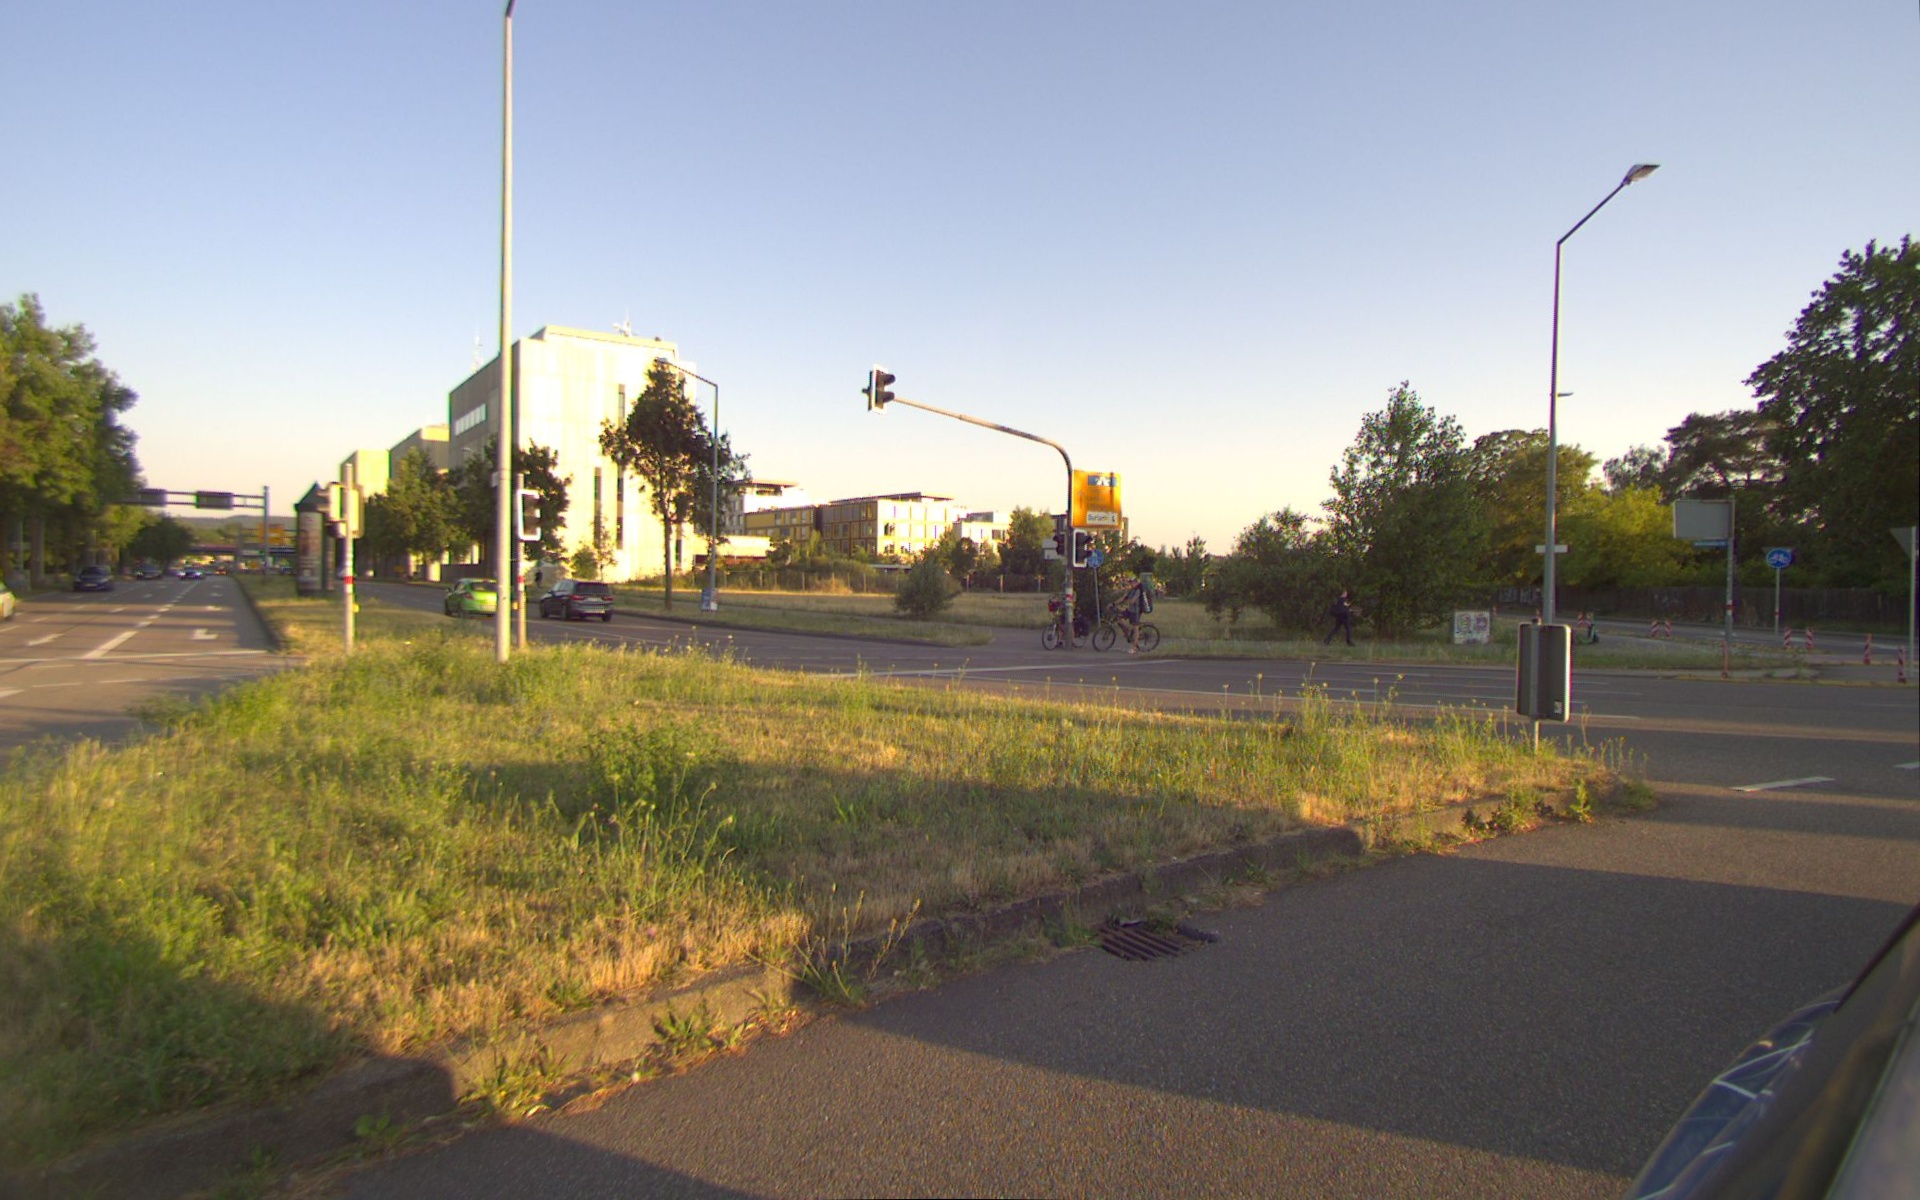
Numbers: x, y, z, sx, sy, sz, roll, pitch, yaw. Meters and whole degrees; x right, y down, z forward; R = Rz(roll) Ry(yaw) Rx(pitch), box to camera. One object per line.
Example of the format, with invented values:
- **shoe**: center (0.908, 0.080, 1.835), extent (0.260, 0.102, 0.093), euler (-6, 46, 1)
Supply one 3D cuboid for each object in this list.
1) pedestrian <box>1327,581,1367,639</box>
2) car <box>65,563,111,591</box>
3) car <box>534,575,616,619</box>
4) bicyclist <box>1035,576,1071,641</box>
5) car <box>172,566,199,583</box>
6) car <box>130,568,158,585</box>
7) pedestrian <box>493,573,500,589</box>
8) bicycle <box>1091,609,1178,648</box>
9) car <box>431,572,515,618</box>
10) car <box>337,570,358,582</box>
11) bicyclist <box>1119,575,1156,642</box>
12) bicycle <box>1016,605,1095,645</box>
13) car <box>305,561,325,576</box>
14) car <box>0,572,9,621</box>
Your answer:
- **pedestrian**: center (11.100, 0.270, 29.057), extent (0.978, 1.610, 0.922), euler (1, 1, 16)
- **car**: center (-53.650, -1.421, 62.339), extent (1.880, 1.603, 4.179), euler (0, 1, -37)
- **car**: center (-14.993, -0.152, 39.253), extent (1.703, 1.597, 4.326), euler (0, 1, -39)
- **bicyclist**: center (2.511, 0.212, 27.325), extent (0.675, 1.711, 0.726), euler (0, 1, -29)
- **car**: center (-75.055, -2.480, 98.071), extent (1.963, 1.524, 4.771), euler (0, 1, -36)
- **car**: center (-78.209, -2.266, 97.006), extent (1.963, 1.524, 4.618), euler (0, 1, -37)
- **pedestrian**: center (-43.238, -1.758, 94.318), extent (0.492, 1.531, 0.530), euler (0, 1, -35)
- **bicycle**: center (4.524, 0.736, 26.238), extent (2.100, 0.975, 0.711), euler (1, 1, -15)
- **car**: center (-17.771, -0.209, 36.846), extent (1.659, 1.438, 3.994), euler (6, -2, -41)
- **car**: center (-80.277, -3.167, 132.641), extent (1.963, 1.445, 4.196), euler (0, 1, -38)
- **bicyclist**: center (4.597, 0.213, 26.260), extent (0.674, 1.711, 0.727), euler (1, 1, -13)
- **bicycle**: center (2.597, 0.663, 27.343), extent (2.065, 0.975, 0.711), euler (-2, 2, -27)
- **car**: center (-87.109, -4.244, 136.716), extent (2.029, 1.971, 4.960), euler (0, 1, -36)
- **car**: center (-30.975, -0.133, 31.536), extent (1.836, 1.472, 3.964), euler (0, 2, -42)
